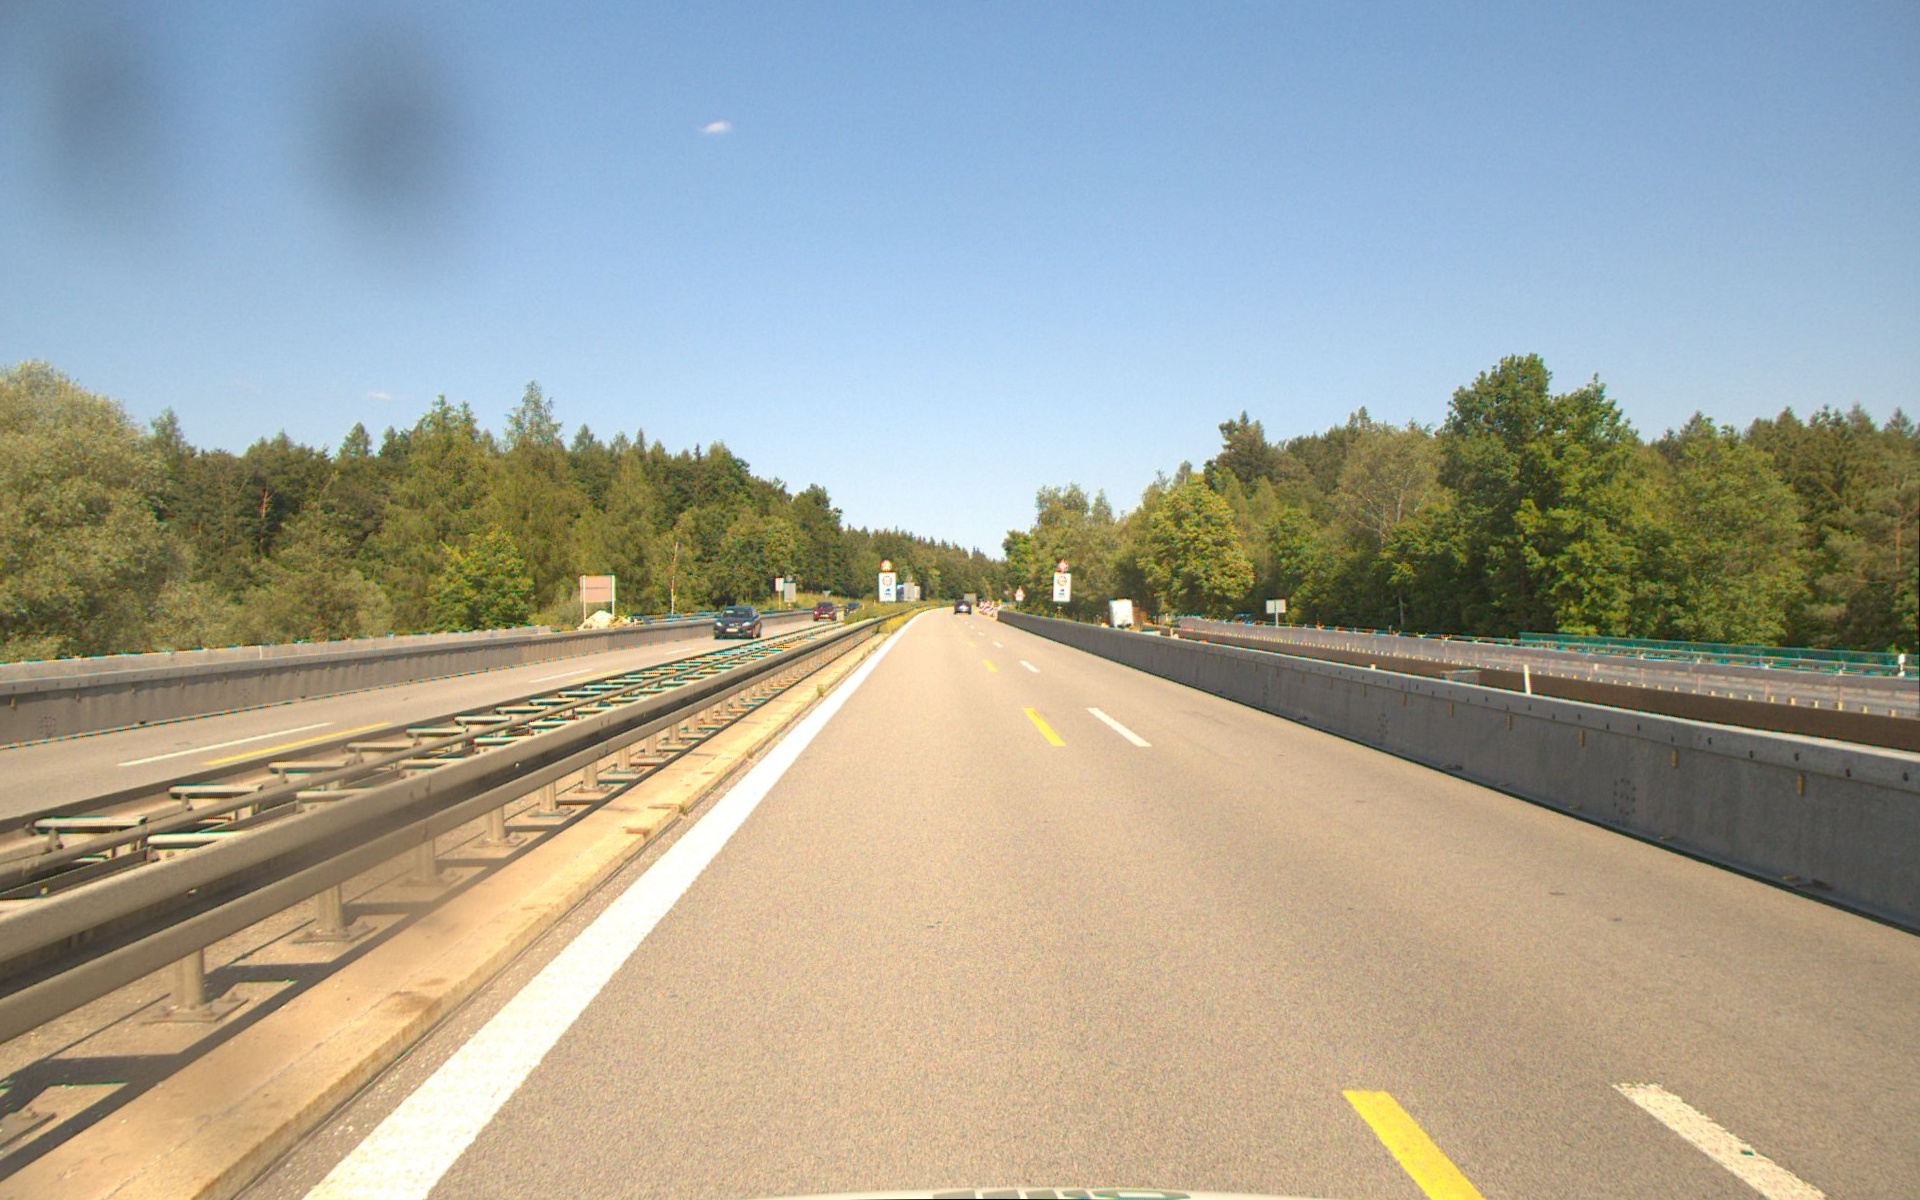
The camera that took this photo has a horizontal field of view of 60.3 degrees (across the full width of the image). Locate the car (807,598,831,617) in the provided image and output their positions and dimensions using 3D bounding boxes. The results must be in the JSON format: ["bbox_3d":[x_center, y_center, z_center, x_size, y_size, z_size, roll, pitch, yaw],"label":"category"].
[{"bbox_3d":[-11.504,0.638,135.223,1.708,1.492,4.292,-1,0,-1],"label":"car"}]

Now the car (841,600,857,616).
[{"bbox_3d":[-12.025,0.904,179.169,1.496,1.589,3.453,-3,-2,-1],"label":"car"}]

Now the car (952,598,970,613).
[{"bbox_3d":[0.105,0.530,172.548,1.708,1.492,4.293,-1,0,-1],"label":"car"}]

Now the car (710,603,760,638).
[{"bbox_3d":[-10.287,0.916,75.811,1.708,1.492,4.908,-1,0,-1],"label":"car"}]
